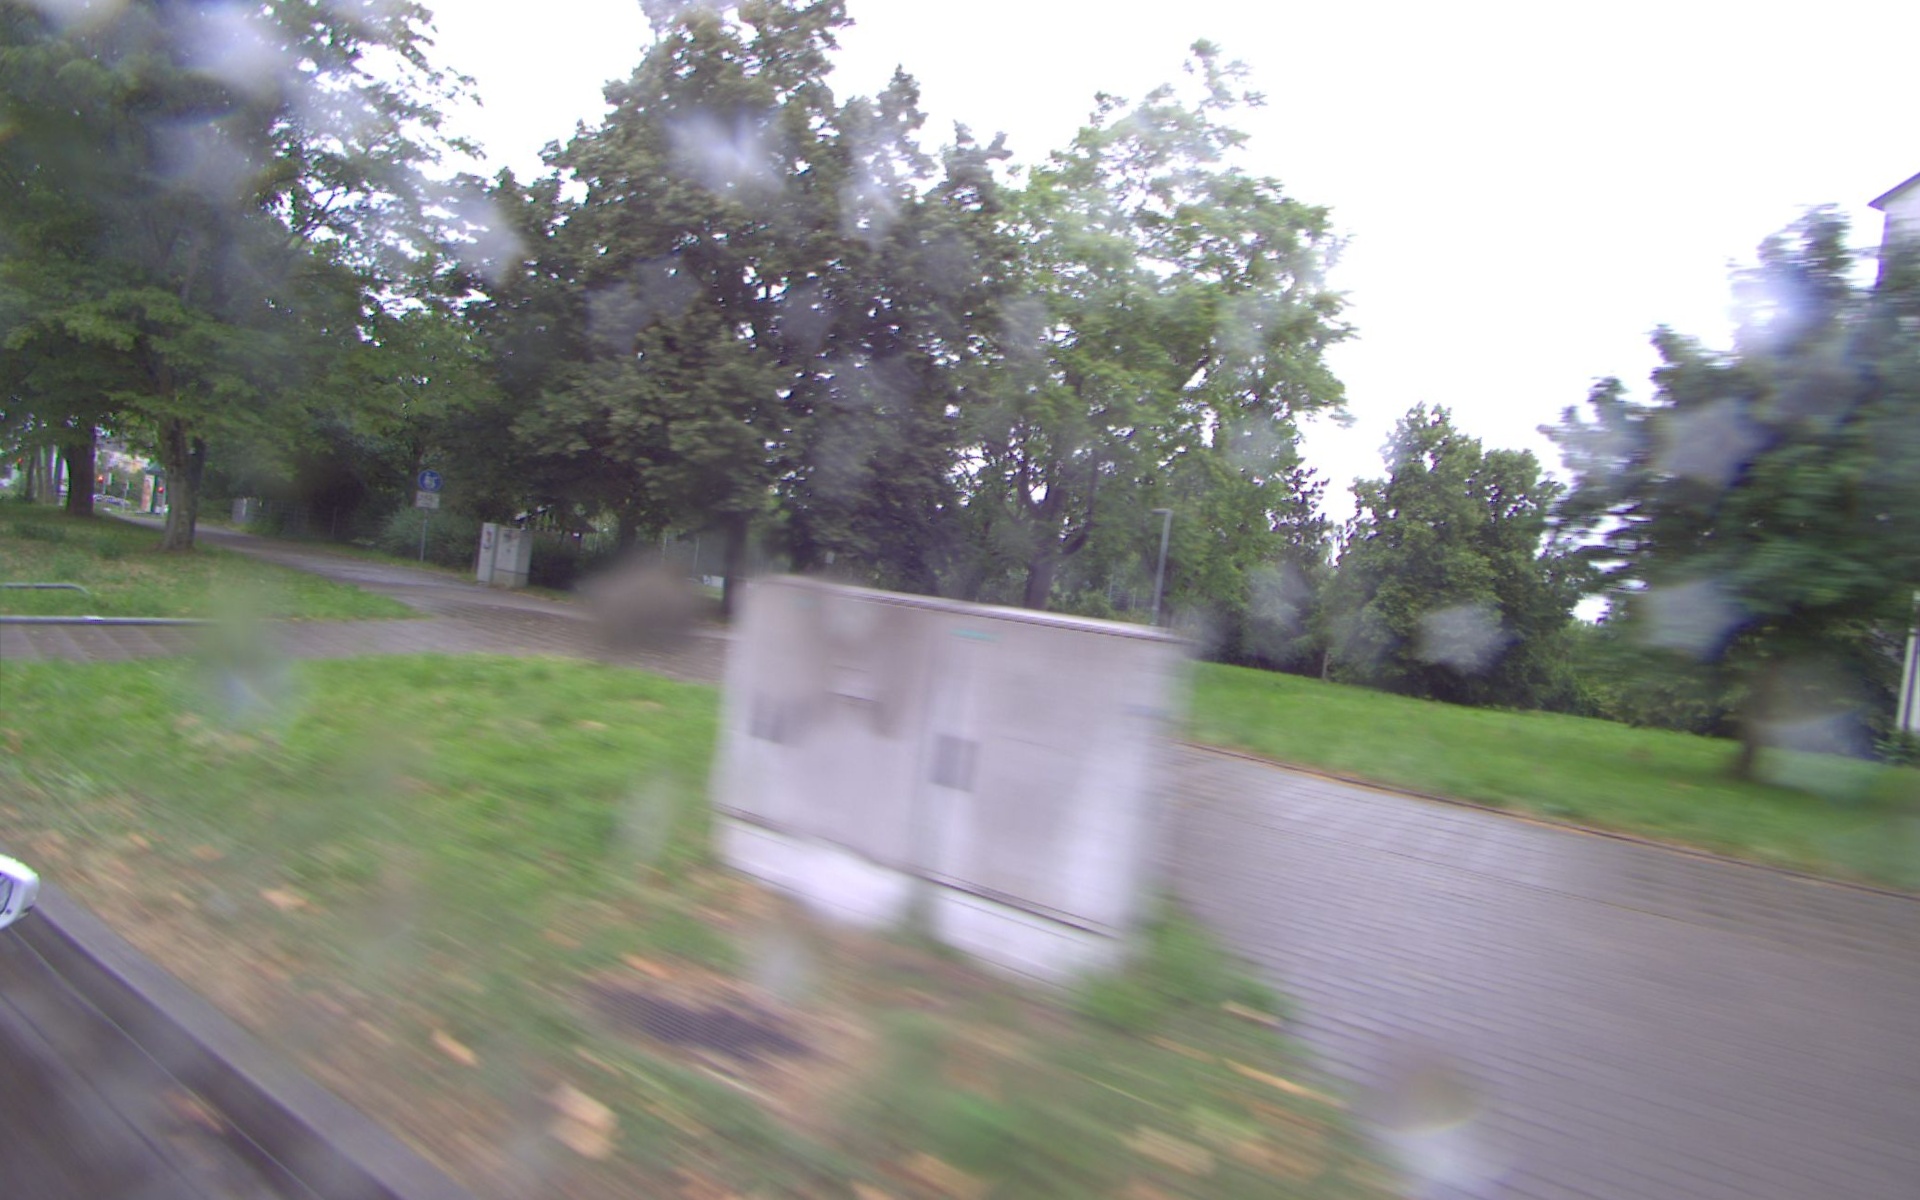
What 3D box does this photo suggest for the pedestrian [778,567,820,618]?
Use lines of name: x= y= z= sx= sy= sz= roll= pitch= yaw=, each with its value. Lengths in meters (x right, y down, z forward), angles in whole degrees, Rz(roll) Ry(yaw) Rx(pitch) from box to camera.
pedestrian: x=-5.924 y=-0.268 z=37.028 sx=0.840 sy=1.715 sz=1.033 roll=8 pitch=0 yaw=32
